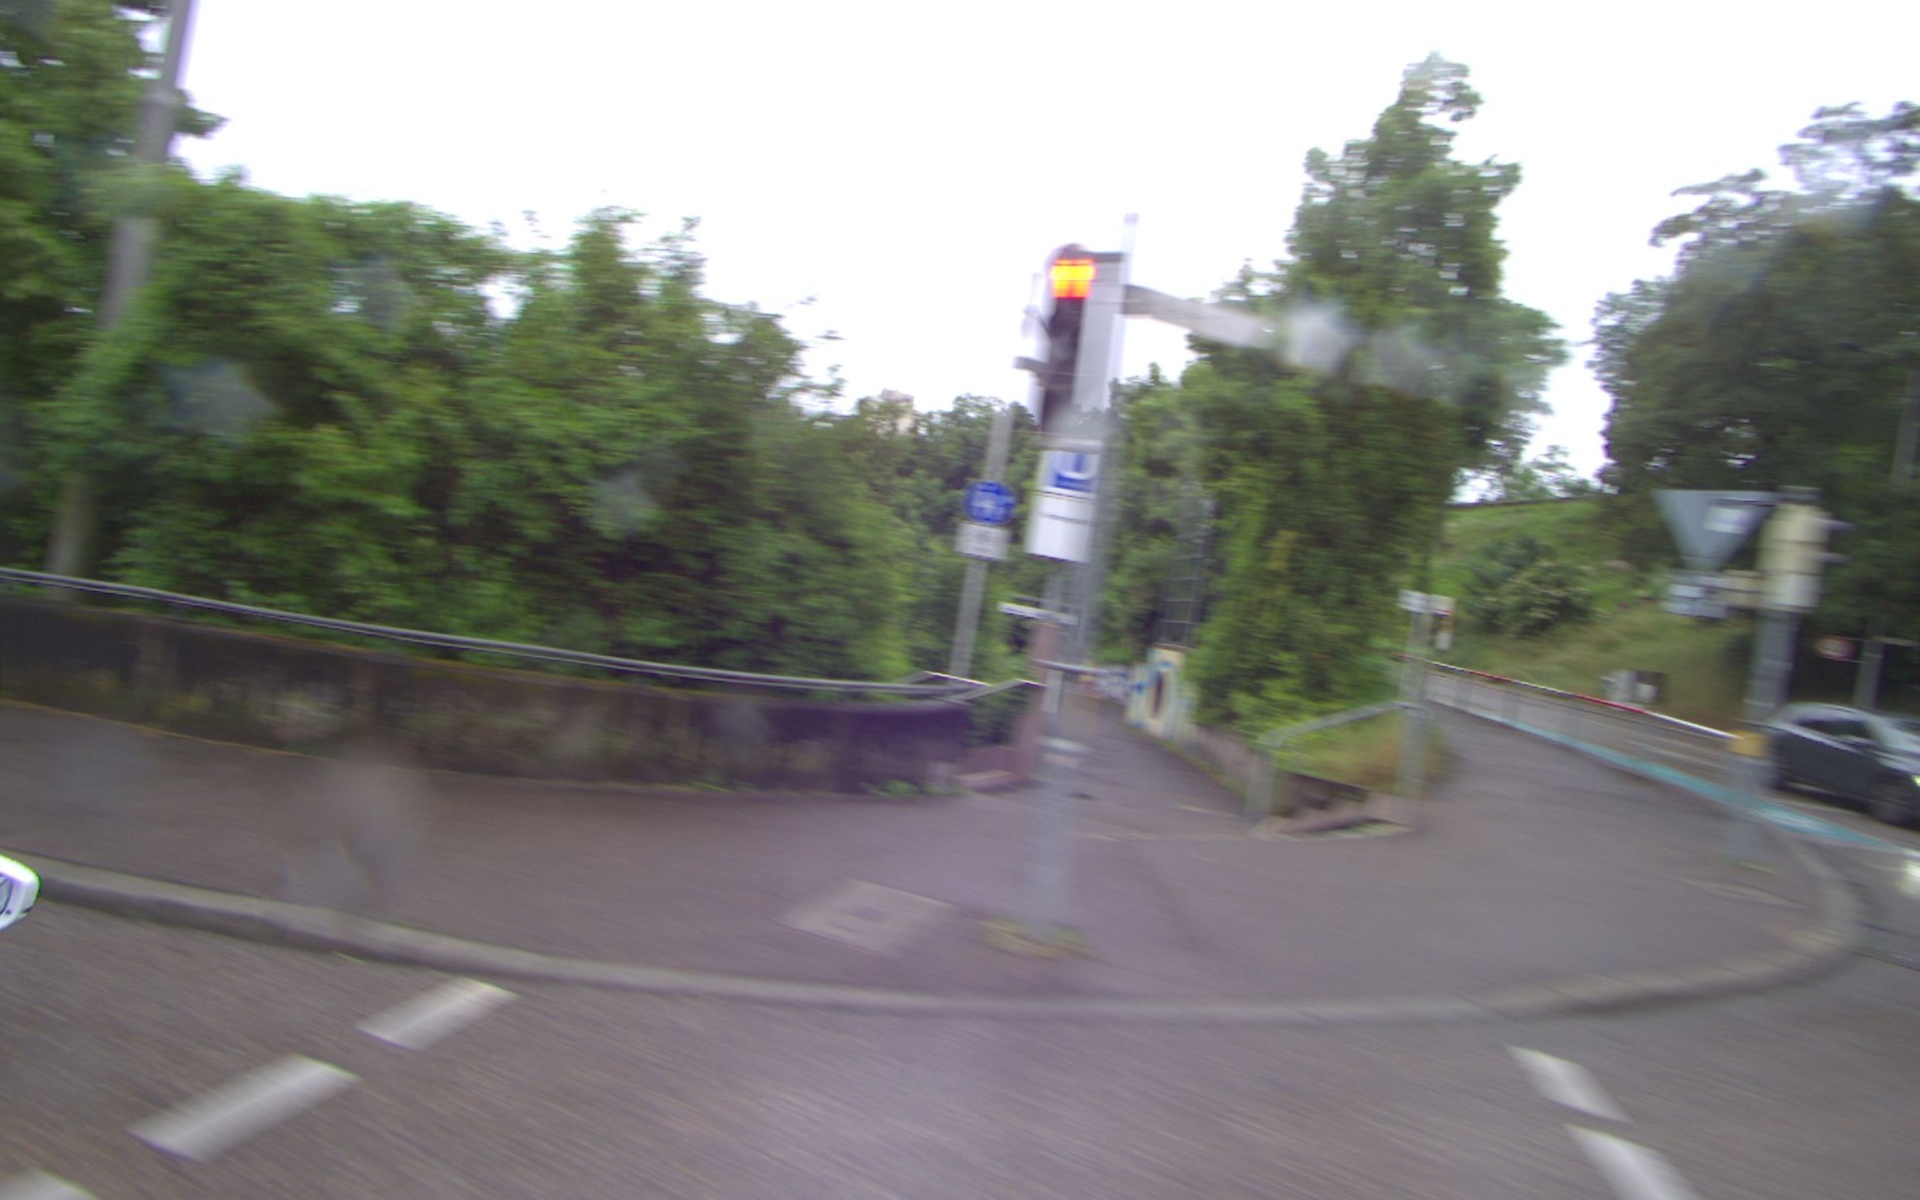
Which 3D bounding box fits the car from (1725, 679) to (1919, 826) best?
[{"bbox_3d":[13.477,2.205,14.491,1.853,1.541,4.691,8,2,11],"label":"car"}]
